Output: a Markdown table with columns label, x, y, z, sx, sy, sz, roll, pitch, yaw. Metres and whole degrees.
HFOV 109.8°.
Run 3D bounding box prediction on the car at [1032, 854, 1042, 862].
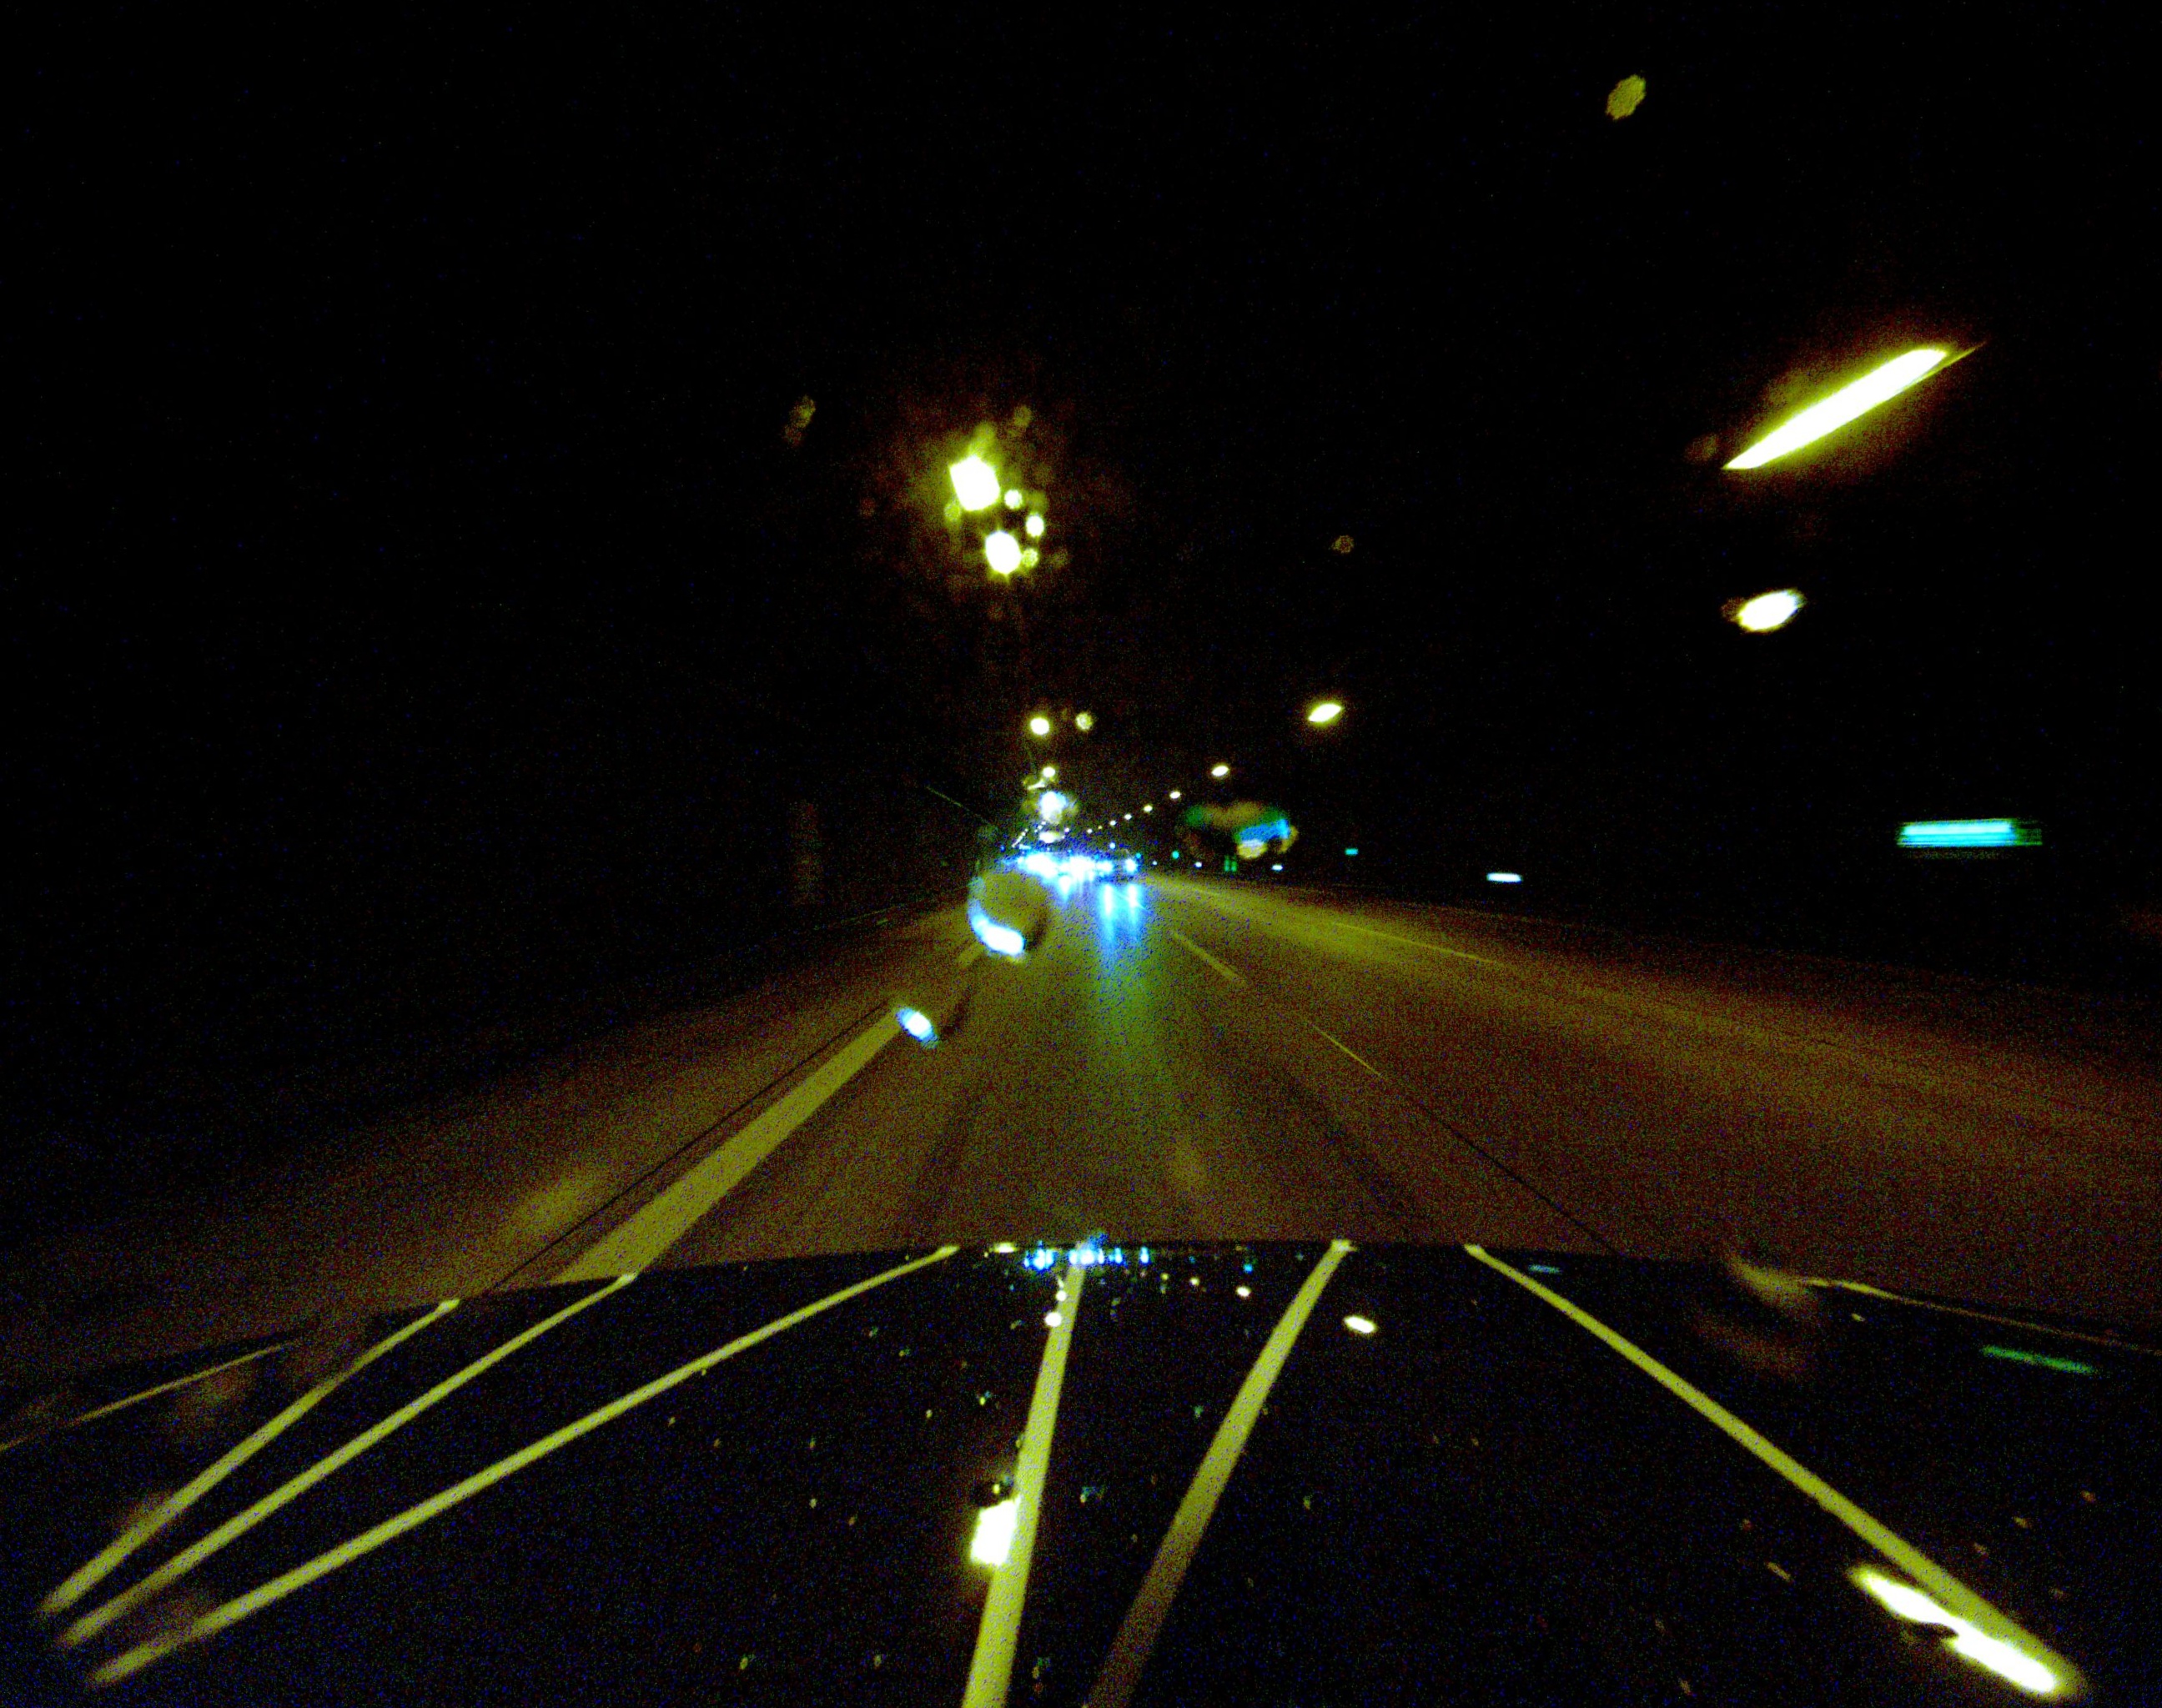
| label | x | y | z | sx | sy | sz | roll | pitch | yaw |
| --- | --- | --- | --- | --- | --- | --- | --- | --- | --- |
| car | -10.468 | 0.941 | 181.416 | 2.000 | 1.728 | 3.997 | -2 | 0 | -8 |

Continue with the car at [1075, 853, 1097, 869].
| label | x | y | z | sx | sy | sz | roll | pitch | yaw |
| --- | --- | --- | --- | --- | --- | --- | --- | --- | --- |
| car | 0.521 | 0.717 | 81.772 | 1.911 | 1.637 | 3.998 | -2 | 0 | -5 |

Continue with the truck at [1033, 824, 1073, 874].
| label | x | y | z | sx | sy | sz | roll | pitch | yaw |
| --- | --- | --- | --- | --- | --- | --- | --- | --- | --- |
| truck | -2.641 | -0.465 | 68.730 | 3.143 | 4.136 | 7.384 | -2 | 1 | -5 |

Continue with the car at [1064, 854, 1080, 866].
| label | x | y | z | sx | sy | sz | roll | pitch | yaw |
| --- | --- | --- | --- | --- | --- | --- | --- | --- | --- |
| car | -1.201 | 0.801 | 102.440 | 1.759 | 1.566 | 3.998 | -2 | 0 | -5 |

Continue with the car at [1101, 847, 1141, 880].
| label | x | y | z | sx | sy | sz | roll | pitch | yaw |
| --- | --- | --- | --- | --- | --- | --- | --- | --- | --- |
| car | 2.546 | 0.662 | 48.947 | 1.999 | 2.001 | 4.360 | -1 | -2 | -4 |
